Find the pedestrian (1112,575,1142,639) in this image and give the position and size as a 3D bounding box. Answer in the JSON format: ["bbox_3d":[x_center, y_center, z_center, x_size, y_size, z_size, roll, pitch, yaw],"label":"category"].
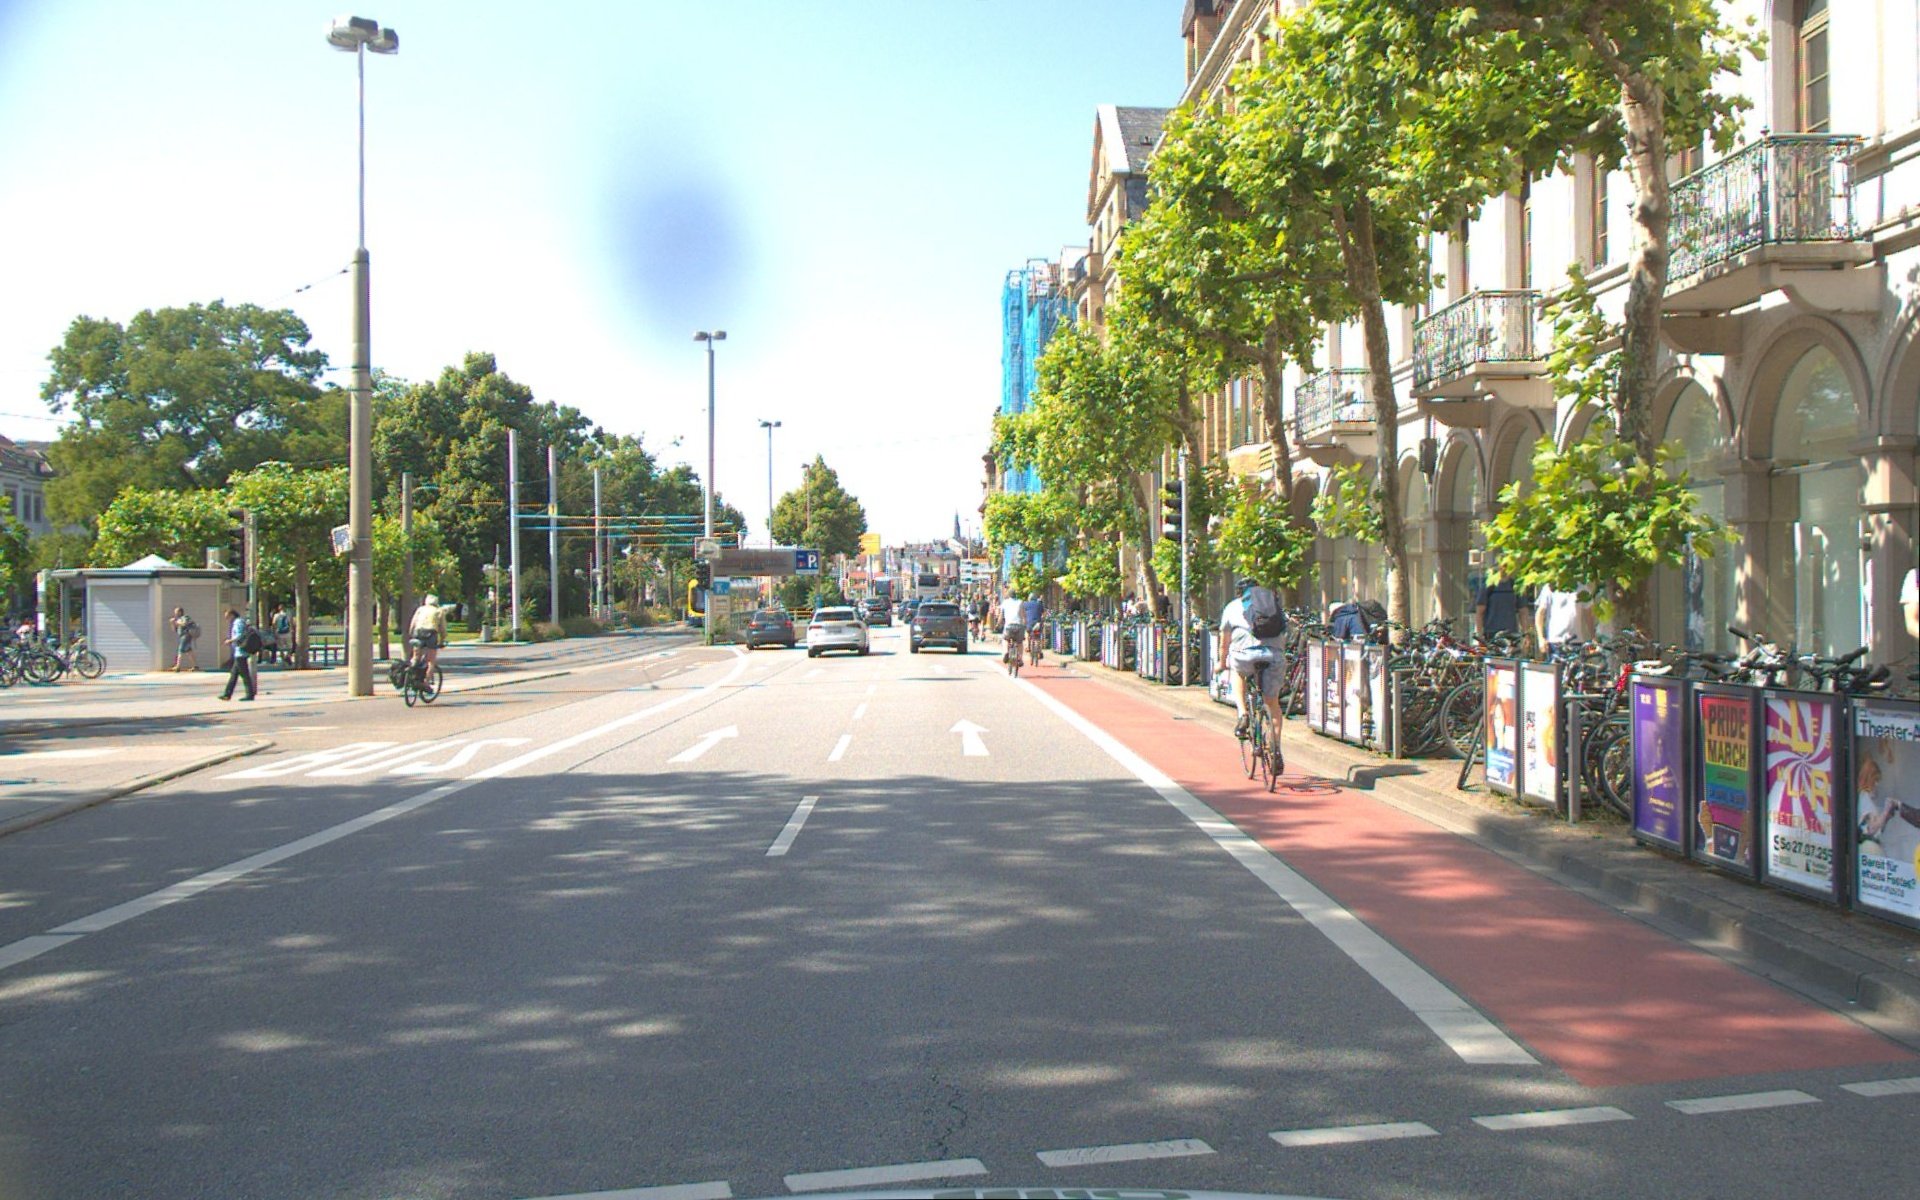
[{"bbox_3d":[4.394,0.191,43.493,0.639,1.662,0.730,1,-1,-5],"label":"pedestrian"}]

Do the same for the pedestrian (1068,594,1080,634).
[{"bbox_3d":[4.924,0.618,71.312,0.373,1.712,0.476,-1,-1,-10],"label":"pedestrian"}]

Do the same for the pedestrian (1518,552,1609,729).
[{"bbox_3d":[6.398,0.423,17.554,0.621,1.824,0.776,1,-1,-4],"label":"pedestrian"}]

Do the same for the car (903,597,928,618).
[{"bbox_3d":[-2.997,0.486,111.403,1.424,1.323,3.337,1,0,-6],"label":"car"}]

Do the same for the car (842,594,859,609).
[{"bbox_3d":[-10.339,0.166,156.333,1.422,1.323,3.999,1,0,-1],"label":"car"}]

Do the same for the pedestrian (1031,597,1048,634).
[{"bbox_3d":[4.101,0.793,85.158,0.797,1.881,0.892,-2,-1,5],"label":"pedestrian"}]

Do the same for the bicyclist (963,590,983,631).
[{"bbox_3d":[0.512,0.399,65.902,0.674,1.604,1.049,1,0,-4],"label":"bicyclist"}]

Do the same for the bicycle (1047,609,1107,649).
[{"bbox_3d":[3.448,0.842,48.832,1.718,1.167,0.482,0,0,-4],"label":"bicycle"}]

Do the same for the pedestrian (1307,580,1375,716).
[{"bbox_3d":[4.498,0.559,19.571,0.592,1.565,0.666,1,-1,-4],"label":"pedestrian"}]

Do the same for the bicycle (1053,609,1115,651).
[{"bbox_3d":[3.546,0.855,47.341,1.718,1.167,0.482,0,0,-4],"label":"bicycle"}]

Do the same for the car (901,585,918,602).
[{"bbox_3d":[-6.321,-0.747,206.970,1.953,2.049,3.999,1,0,-1],"label":"car"}]

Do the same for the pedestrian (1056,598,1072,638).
[{"bbox_3d":[4.485,0.771,71.135,0.489,1.712,0.535,-2,-1,-12],"label":"pedestrian"}]

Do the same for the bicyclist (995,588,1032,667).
[{"bbox_3d":[1.110,0.561,34.465,0.674,1.604,1.049,1,0,-2],"label":"bicyclist"}]

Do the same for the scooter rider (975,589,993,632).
[{"bbox_3d":[0.981,0.418,68.852,0.674,1.759,0.778,1,-1,-2],"label":"scooter rider"}]

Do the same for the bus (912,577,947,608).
[{"bbox_3d":[-2.972,-0.664,159.850,2.910,2.825,8.634,1,0,-4],"label":"bus"}]

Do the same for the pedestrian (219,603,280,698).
[{"bbox_3d":[-12.893,0.900,30.016,0.876,1.688,0.678,-1,0,-11],"label":"pedestrian"}]

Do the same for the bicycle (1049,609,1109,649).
[{"bbox_3d":[3.480,0.841,48.338,1.718,1.167,0.482,0,0,-4],"label":"bicycle"}]

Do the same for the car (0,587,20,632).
[{"bbox_3d":[-71.870,0.677,121.979,2.084,3.374,5.417,1,0,-3],"label":"car"}]

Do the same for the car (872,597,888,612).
[{"bbox_3d":[-7.260,0.423,150.910,1.422,1.323,3.340,1,0,-2],"label":"car"}]

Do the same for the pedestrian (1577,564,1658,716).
[{"bbox_3d":[7.655,0.456,19.269,0.643,1.726,0.676,1,-1,-1],"label":"pedestrian"}]

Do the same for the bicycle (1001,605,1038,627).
[{"bbox_3d":[2.847,0.779,79.459,1.718,1.036,0.482,0,0,-4],"label":"bicycle"}]

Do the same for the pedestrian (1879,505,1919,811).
[{"bbox_3d":[6.272,0.365,10.467,0.534,1.915,0.602,1,-1,-4],"label":"pedestrian"}]

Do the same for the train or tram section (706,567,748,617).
[{"bbox_3d":[-17.668,-0.578,125.718,2.561,3.644,5.354,1,0,-2],"label":"train or tram section"}]

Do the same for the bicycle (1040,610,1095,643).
[{"bbox_3d":[3.483,0.855,53.641,1.718,1.036,0.482,0,0,-4],"label":"bicycle"}]

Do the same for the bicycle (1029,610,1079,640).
[{"bbox_3d":[3.265,0.871,57.491,1.718,1.036,0.482,0,0,-4],"label":"bicycle"}]

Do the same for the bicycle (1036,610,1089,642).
[{"bbox_3d":[3.414,0.863,55.059,1.718,1.036,0.482,0,0,-4],"label":"bicycle"}]

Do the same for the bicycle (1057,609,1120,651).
[{"bbox_3d":[3.602,0.835,46.322,1.718,1.167,0.482,0,0,-4],"label":"bicycle"}]

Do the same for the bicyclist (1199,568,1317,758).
[{"bbox_3d":[2.438,0.501,13.639,0.674,1.488,1.142,1,0,-4],"label":"bicyclist"}]

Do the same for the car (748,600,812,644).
[{"bbox_3d":[-6.605,0.798,61.129,1.953,1.534,3.999,1,0,-1],"label":"car"}]

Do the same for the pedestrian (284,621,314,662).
[{"bbox_3d":[-21.055,1.315,52.716,0.662,1.268,0.751,-3,1,-8],"label":"pedestrian"}]

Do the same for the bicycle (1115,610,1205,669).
[{"bbox_3d":[3.991,0.785,33.041,1.718,1.167,0.482,0,0,-4],"label":"bicycle"}]

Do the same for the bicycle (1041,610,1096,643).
[{"bbox_3d":[3.477,0.854,53.048,1.718,1.036,0.482,0,0,-4],"label":"bicycle"}]

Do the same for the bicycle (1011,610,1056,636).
[{"bbox_3d":[2.912,0.903,65.465,1.718,1.036,0.482,0,0,-4],"label":"bicycle"}]

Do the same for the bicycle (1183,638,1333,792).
[{"bbox_3d":[2.422,0.905,13.702,0.719,1.112,2.129,1,0,-3],"label":"bicycle"}]

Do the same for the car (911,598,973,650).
[{"bbox_3d":[-0.572,0.730,51.471,1.836,1.519,3.999,1,0,-1],"label":"car"}]

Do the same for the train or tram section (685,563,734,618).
[{"bbox_3d":[-17.194,-0.619,113.922,2.561,3.644,6.100,1,0,-2],"label":"train or tram section"}]

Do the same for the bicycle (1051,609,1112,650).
[{"bbox_3d":[3.520,0.840,47.840,1.718,1.167,0.482,0,0,-4],"label":"bicycle"}]

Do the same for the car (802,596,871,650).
[{"bbox_3d":[-3.735,0.671,50.517,1.821,1.533,3.999,1,0,-1],"label":"car"}]

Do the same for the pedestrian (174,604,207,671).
[{"bbox_3d":[-20.928,1.019,44.986,0.741,1.758,0.832,-3,1,-25],"label":"pedestrian"}]

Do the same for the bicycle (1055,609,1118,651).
[{"bbox_3d":[3.578,0.837,46.853,1.718,1.167,0.482,0,0,-4],"label":"bicycle"}]

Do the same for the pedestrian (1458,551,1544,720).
[{"bbox_3d":[6.374,0.409,19.514,0.687,1.935,0.776,1,-1,-4],"label":"pedestrian"}]

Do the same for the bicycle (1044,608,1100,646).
[{"bbox_3d":[3.555,0.850,52.352,1.718,1.167,0.482,0,0,-4],"label":"bicycle"}]

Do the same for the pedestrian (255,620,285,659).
[{"bbox_3d":[-22.147,1.258,53.093,0.662,1.191,0.751,-3,1,-8],"label":"pedestrian"}]

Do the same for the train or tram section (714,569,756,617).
[{"bbox_3d":[-17.912,-0.557,131.796,2.561,3.644,6.895,1,0,-2],"label":"train or tram section"}]

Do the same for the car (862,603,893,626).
[{"bbox_3d":[-5.208,0.903,104.696,1.779,1.355,3.999,1,0,-1],"label":"car"}]

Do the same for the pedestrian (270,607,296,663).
[{"bbox_3d":[-20.260,1.048,49.471,0.568,1.637,0.597,-3,1,-31],"label":"pedestrian"}]

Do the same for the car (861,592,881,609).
[{"bbox_3d":[-7.165,0.084,133.525,1.422,1.323,3.999,1,0,-1],"label":"car"}]

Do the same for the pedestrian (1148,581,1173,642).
[{"bbox_3d":[5.998,0.344,49.474,0.654,1.812,0.985,-1,-1,2],"label":"pedestrian"}]

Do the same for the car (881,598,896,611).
[{"bbox_3d":[-7.534,0.487,173.981,1.423,1.323,3.339,1,0,-3],"label":"car"}]

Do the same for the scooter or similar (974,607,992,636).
[{"bbox_3d":[0.955,0.883,68.812,0.674,1.188,1.463,1,0,-2],"label":"scooter or similar"}]

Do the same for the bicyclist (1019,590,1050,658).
[{"bbox_3d":[1.822,0.579,40.650,0.674,1.644,0.918,1,-1,-2],"label":"bicyclist"}]

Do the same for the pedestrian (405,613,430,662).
[{"bbox_3d":[-18.576,1.285,56.652,0.513,1.637,0.627,-3,1,7],"label":"pedestrian"}]

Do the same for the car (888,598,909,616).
[{"bbox_3d":[-4.581,0.537,123.230,1.423,1.323,3.339,1,0,-4],"label":"car"}]

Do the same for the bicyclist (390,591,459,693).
[{"bbox_3d":[-8.983,0.689,27.774,0.801,1.650,0.902,-1,1,0],"label":"bicyclist"}]
